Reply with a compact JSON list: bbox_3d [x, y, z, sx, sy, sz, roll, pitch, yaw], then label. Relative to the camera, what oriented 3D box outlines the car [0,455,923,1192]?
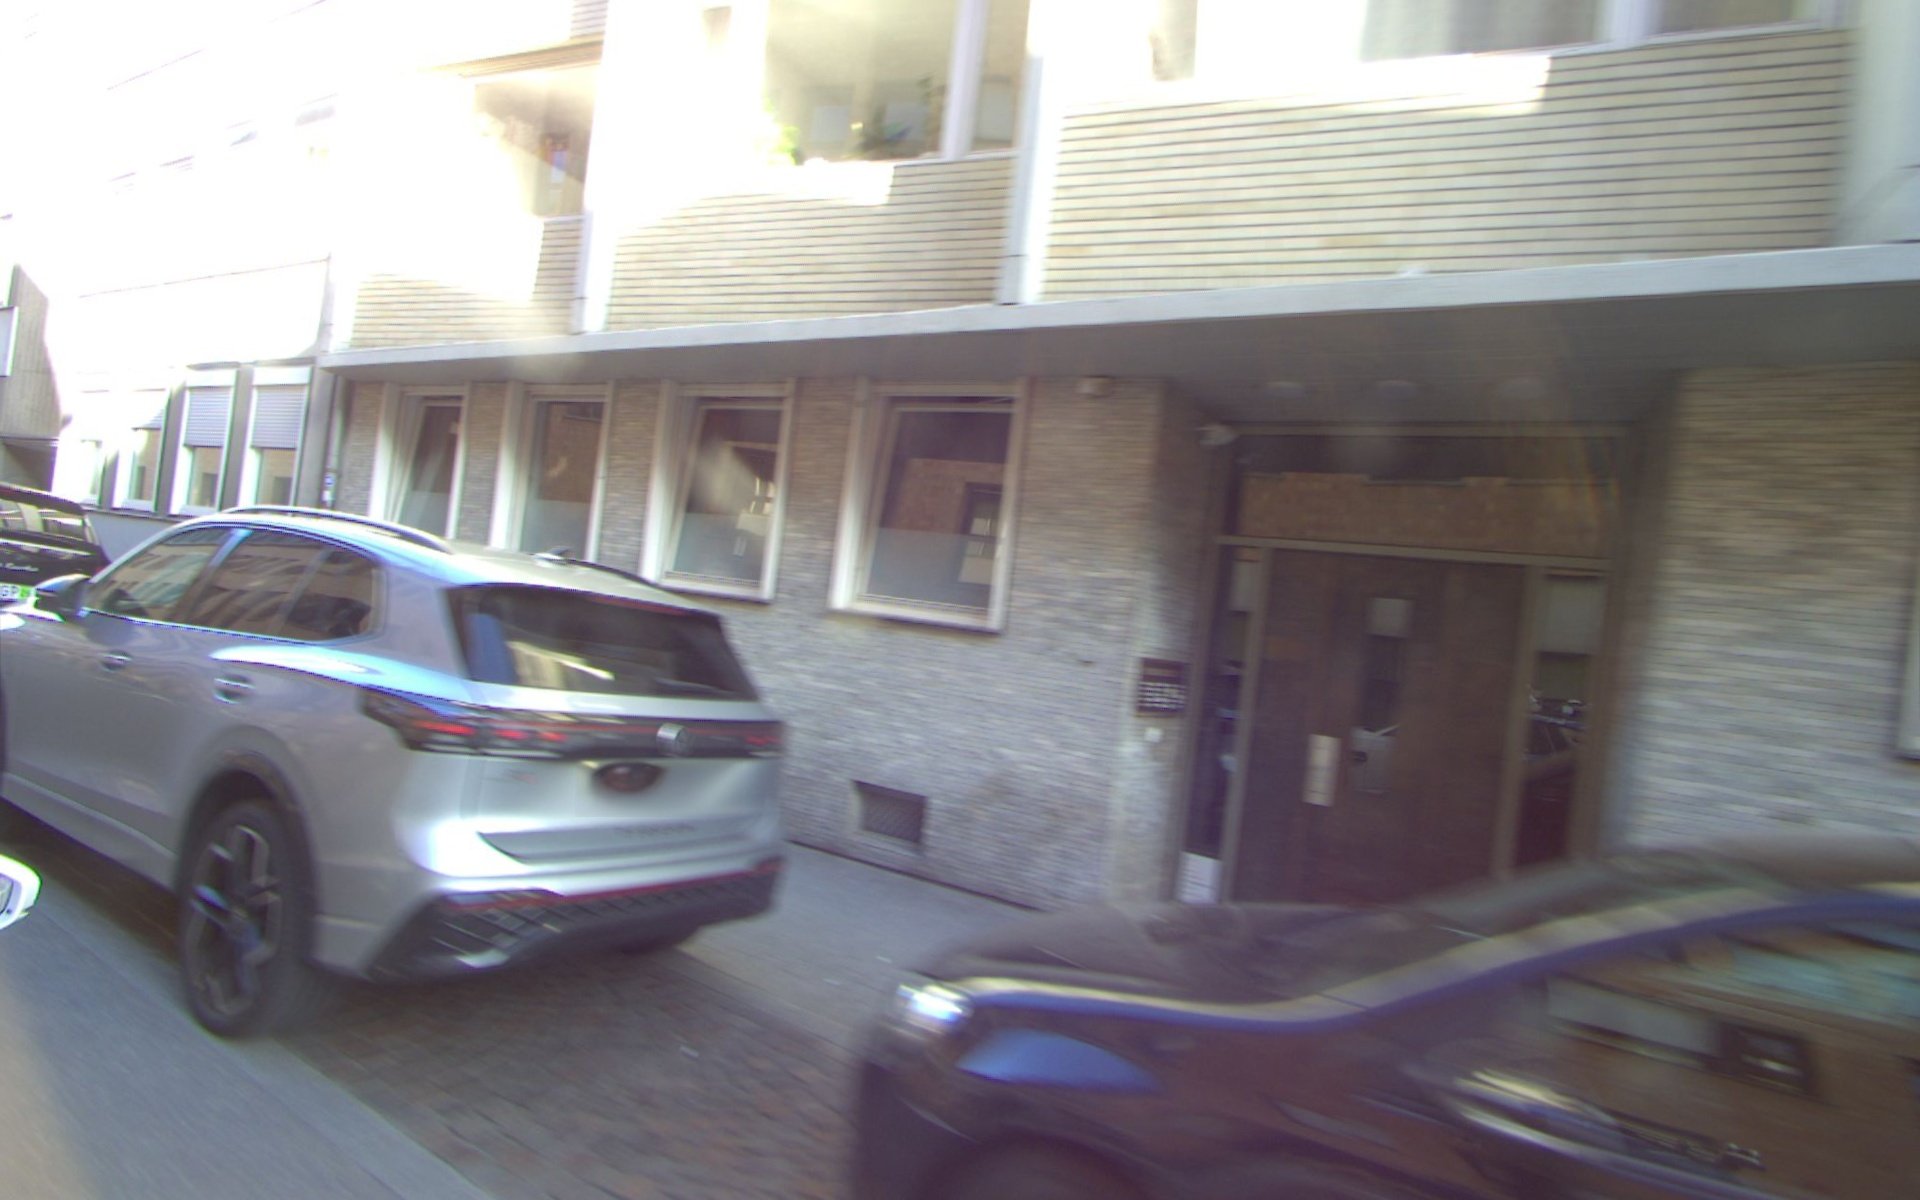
[{"bbox_3d":[-2.785,0.469,4.557,4.763,1.720,1.999,7,-4,32],"label":"car"}]

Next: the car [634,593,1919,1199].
[{"bbox_3d":[1.729,1.092,1.795,4.524,1.520,1.828,7,-4,33],"label":"car"}]

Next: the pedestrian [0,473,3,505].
[{"bbox_3d":[-12.896,-0.819,12.793,0.734,1.743,0.789,7,1,32],"label":"pedestrian"}]

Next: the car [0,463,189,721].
[{"bbox_3d":[-8.892,-0.297,8.446,4.969,1.805,2.108,7,-3,33],"label":"car"}]
